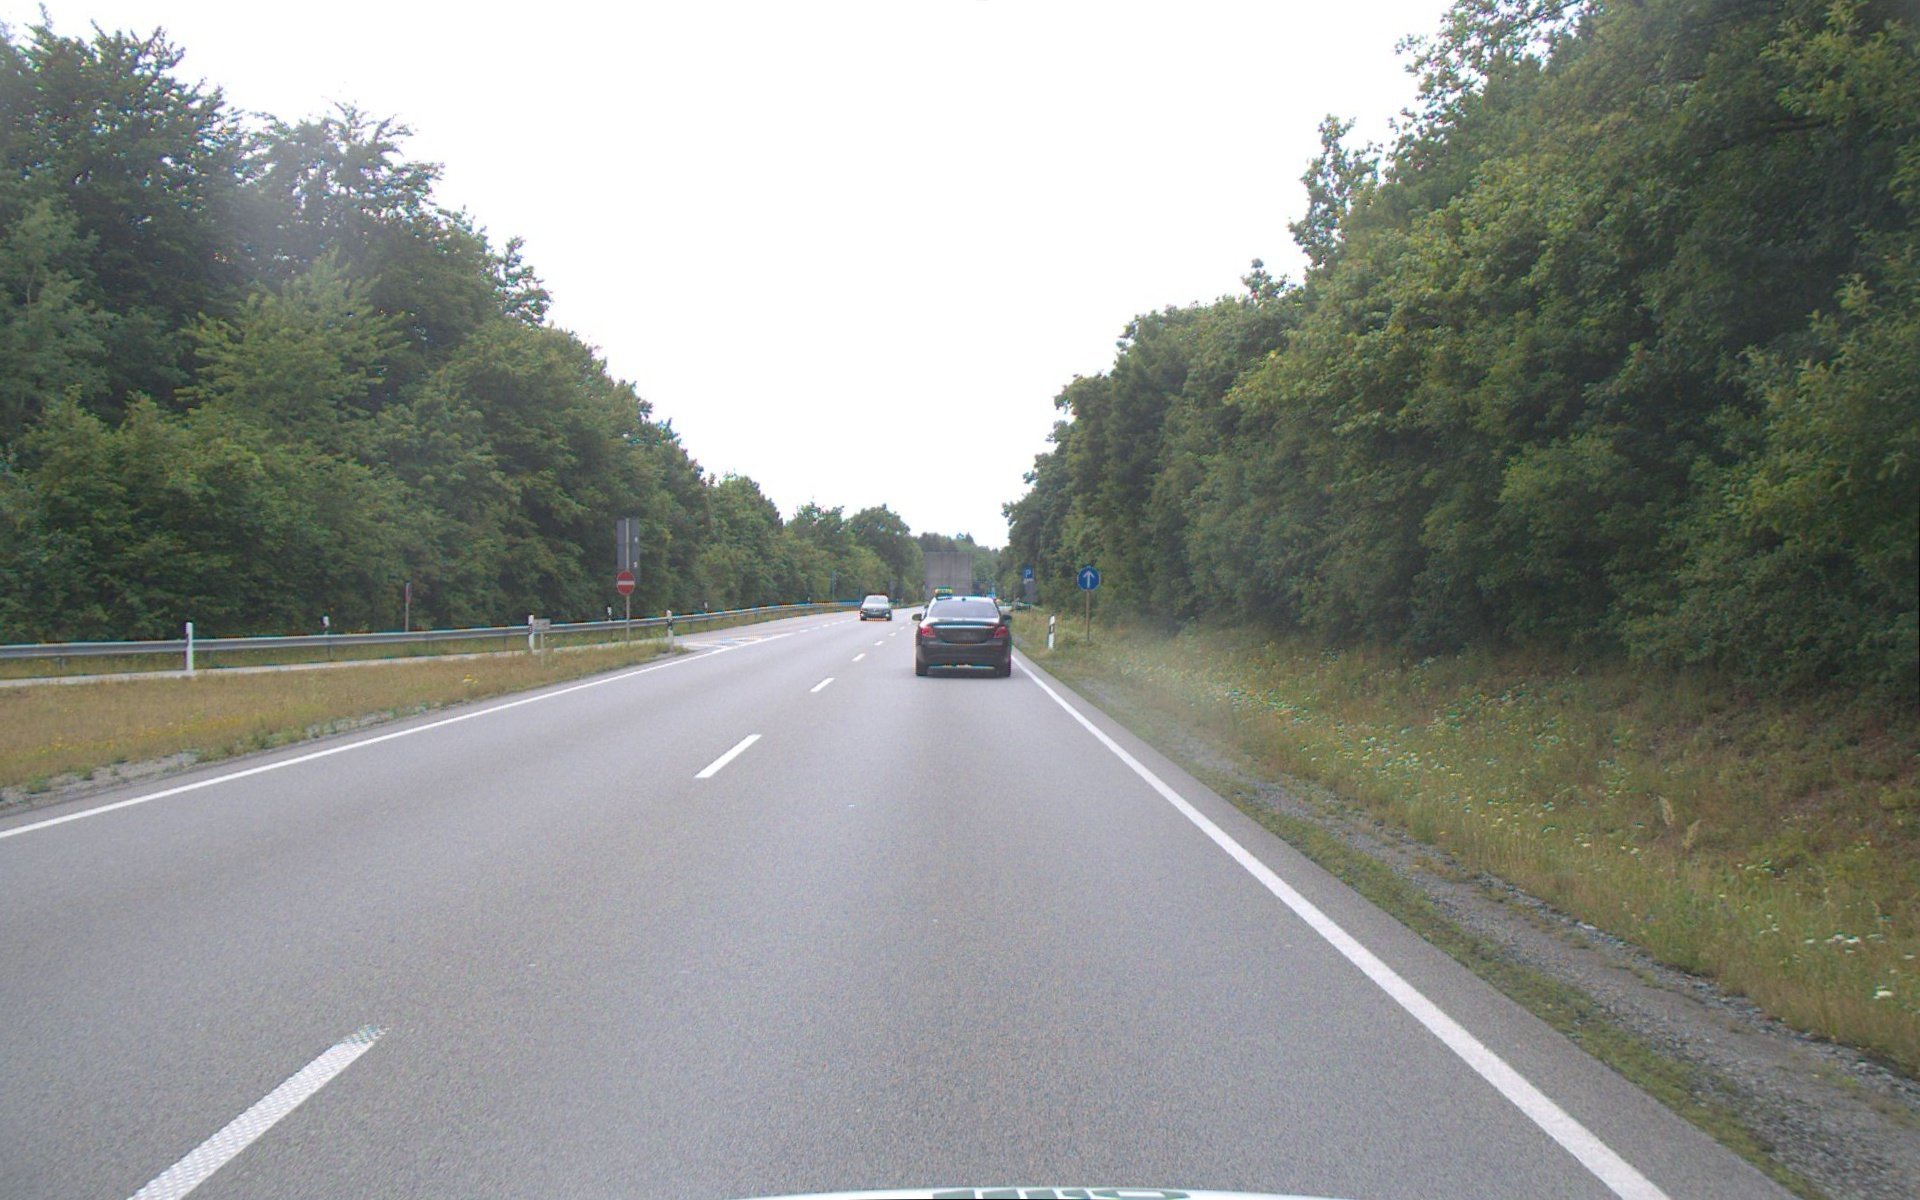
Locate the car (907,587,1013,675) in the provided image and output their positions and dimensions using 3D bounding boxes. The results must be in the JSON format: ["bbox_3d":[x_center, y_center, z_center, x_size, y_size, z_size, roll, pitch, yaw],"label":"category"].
[{"bbox_3d":[-0.062,0.558,31.910,1.756,1.579,3.996,1,0,-4],"label":"car"}]

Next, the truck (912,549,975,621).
[{"bbox_3d":[-0.887,-0.798,91.463,3.214,3.675,11.398,1,0,0],"label":"truck"}]

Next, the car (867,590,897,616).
[{"bbox_3d":[-4.690,0.175,99.369,1.772,1.467,4.445,1,0,-3],"label":"car"}]
